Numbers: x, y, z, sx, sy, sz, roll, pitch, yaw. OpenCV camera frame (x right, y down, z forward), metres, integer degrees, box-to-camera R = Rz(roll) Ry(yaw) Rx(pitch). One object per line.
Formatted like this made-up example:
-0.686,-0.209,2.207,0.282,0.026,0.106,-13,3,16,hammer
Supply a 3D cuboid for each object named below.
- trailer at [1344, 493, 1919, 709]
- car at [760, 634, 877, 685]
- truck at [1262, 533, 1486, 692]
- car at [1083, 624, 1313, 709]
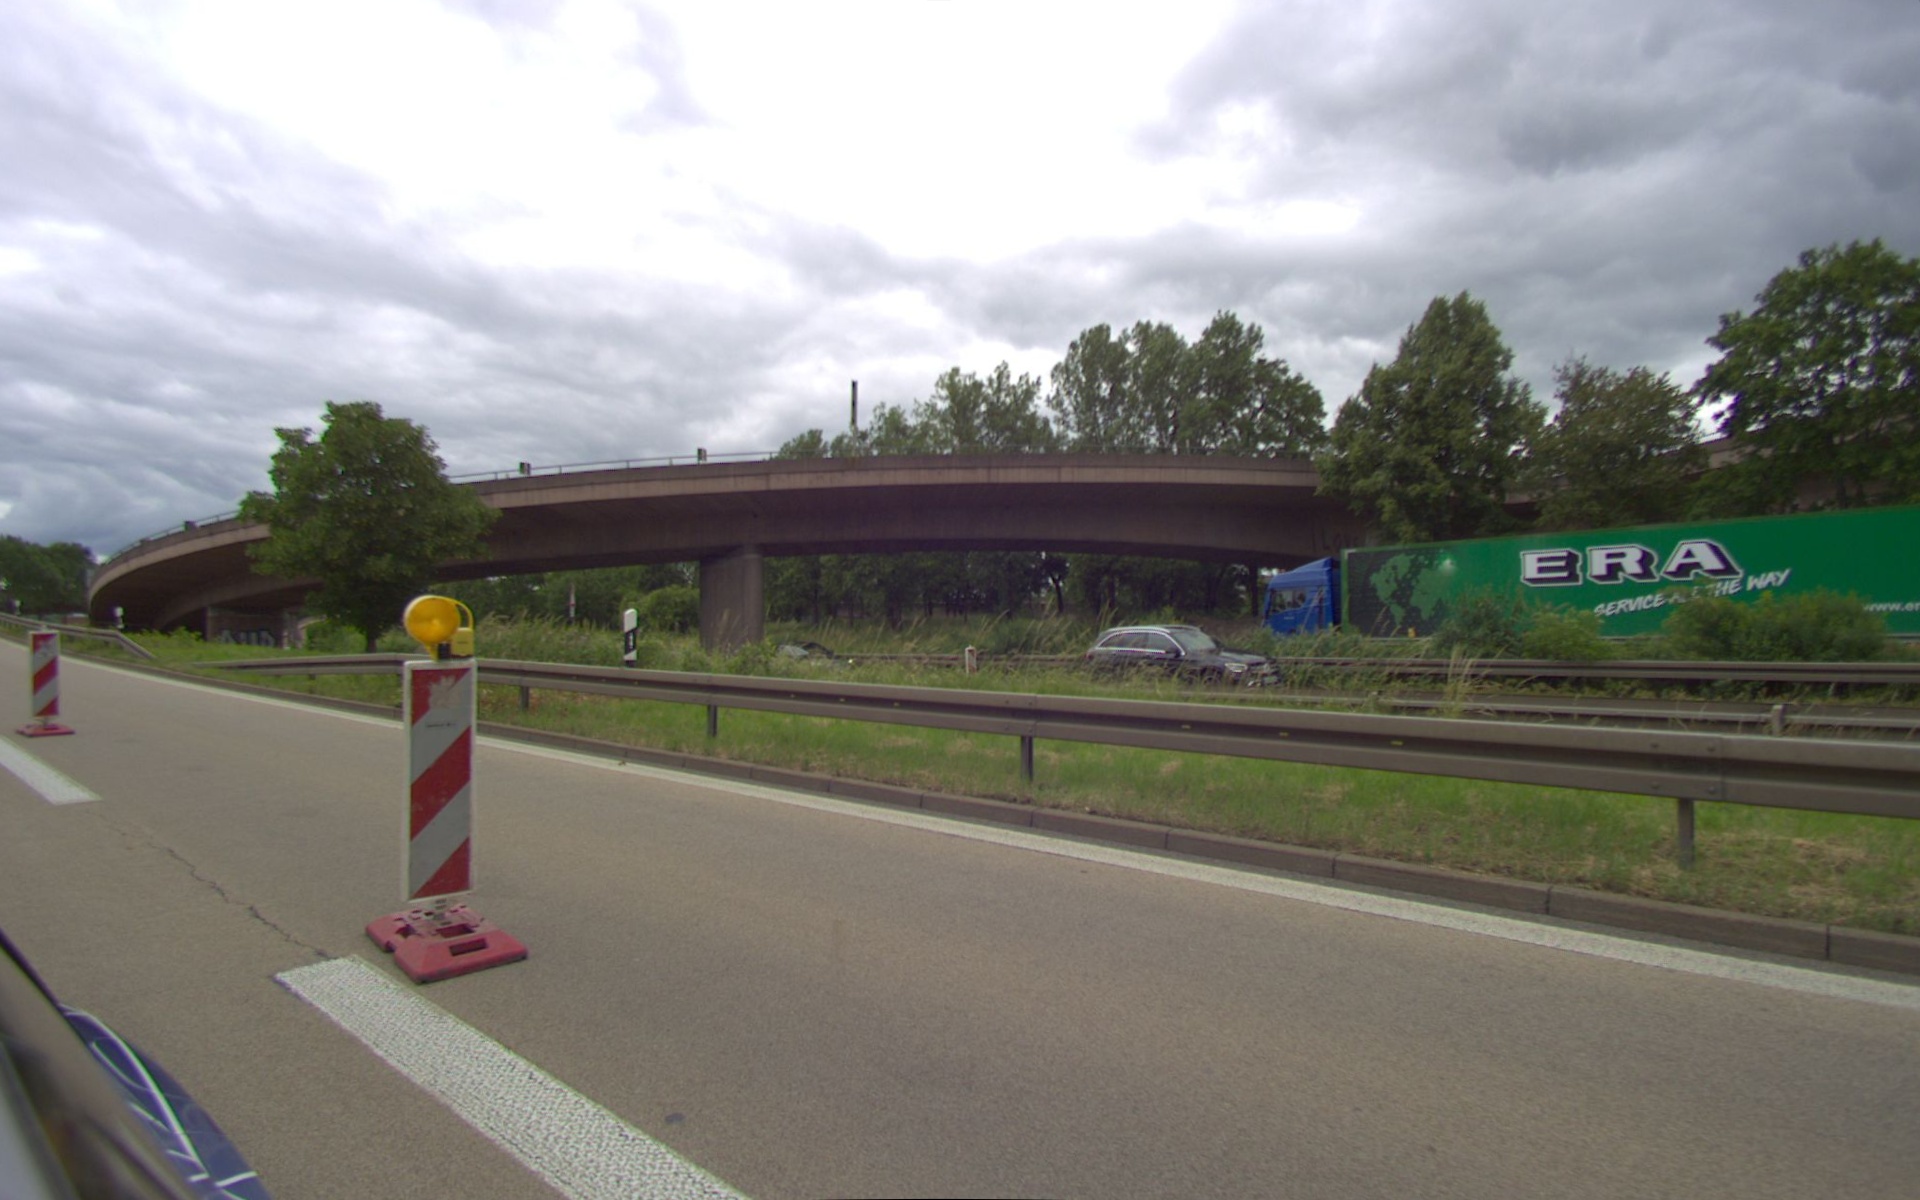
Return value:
16.860,0.200,25.149,2.737,4.327,13.999,0,-2,-41,trailer
-4.943,2.004,34.817,2.012,1.627,4.301,0,-2,-40,car
12.320,0.425,30.452,2.718,4.305,5.511,0,-2,-40,truck
5.090,1.387,22.171,2.012,1.627,4.585,0,-2,-40,car
